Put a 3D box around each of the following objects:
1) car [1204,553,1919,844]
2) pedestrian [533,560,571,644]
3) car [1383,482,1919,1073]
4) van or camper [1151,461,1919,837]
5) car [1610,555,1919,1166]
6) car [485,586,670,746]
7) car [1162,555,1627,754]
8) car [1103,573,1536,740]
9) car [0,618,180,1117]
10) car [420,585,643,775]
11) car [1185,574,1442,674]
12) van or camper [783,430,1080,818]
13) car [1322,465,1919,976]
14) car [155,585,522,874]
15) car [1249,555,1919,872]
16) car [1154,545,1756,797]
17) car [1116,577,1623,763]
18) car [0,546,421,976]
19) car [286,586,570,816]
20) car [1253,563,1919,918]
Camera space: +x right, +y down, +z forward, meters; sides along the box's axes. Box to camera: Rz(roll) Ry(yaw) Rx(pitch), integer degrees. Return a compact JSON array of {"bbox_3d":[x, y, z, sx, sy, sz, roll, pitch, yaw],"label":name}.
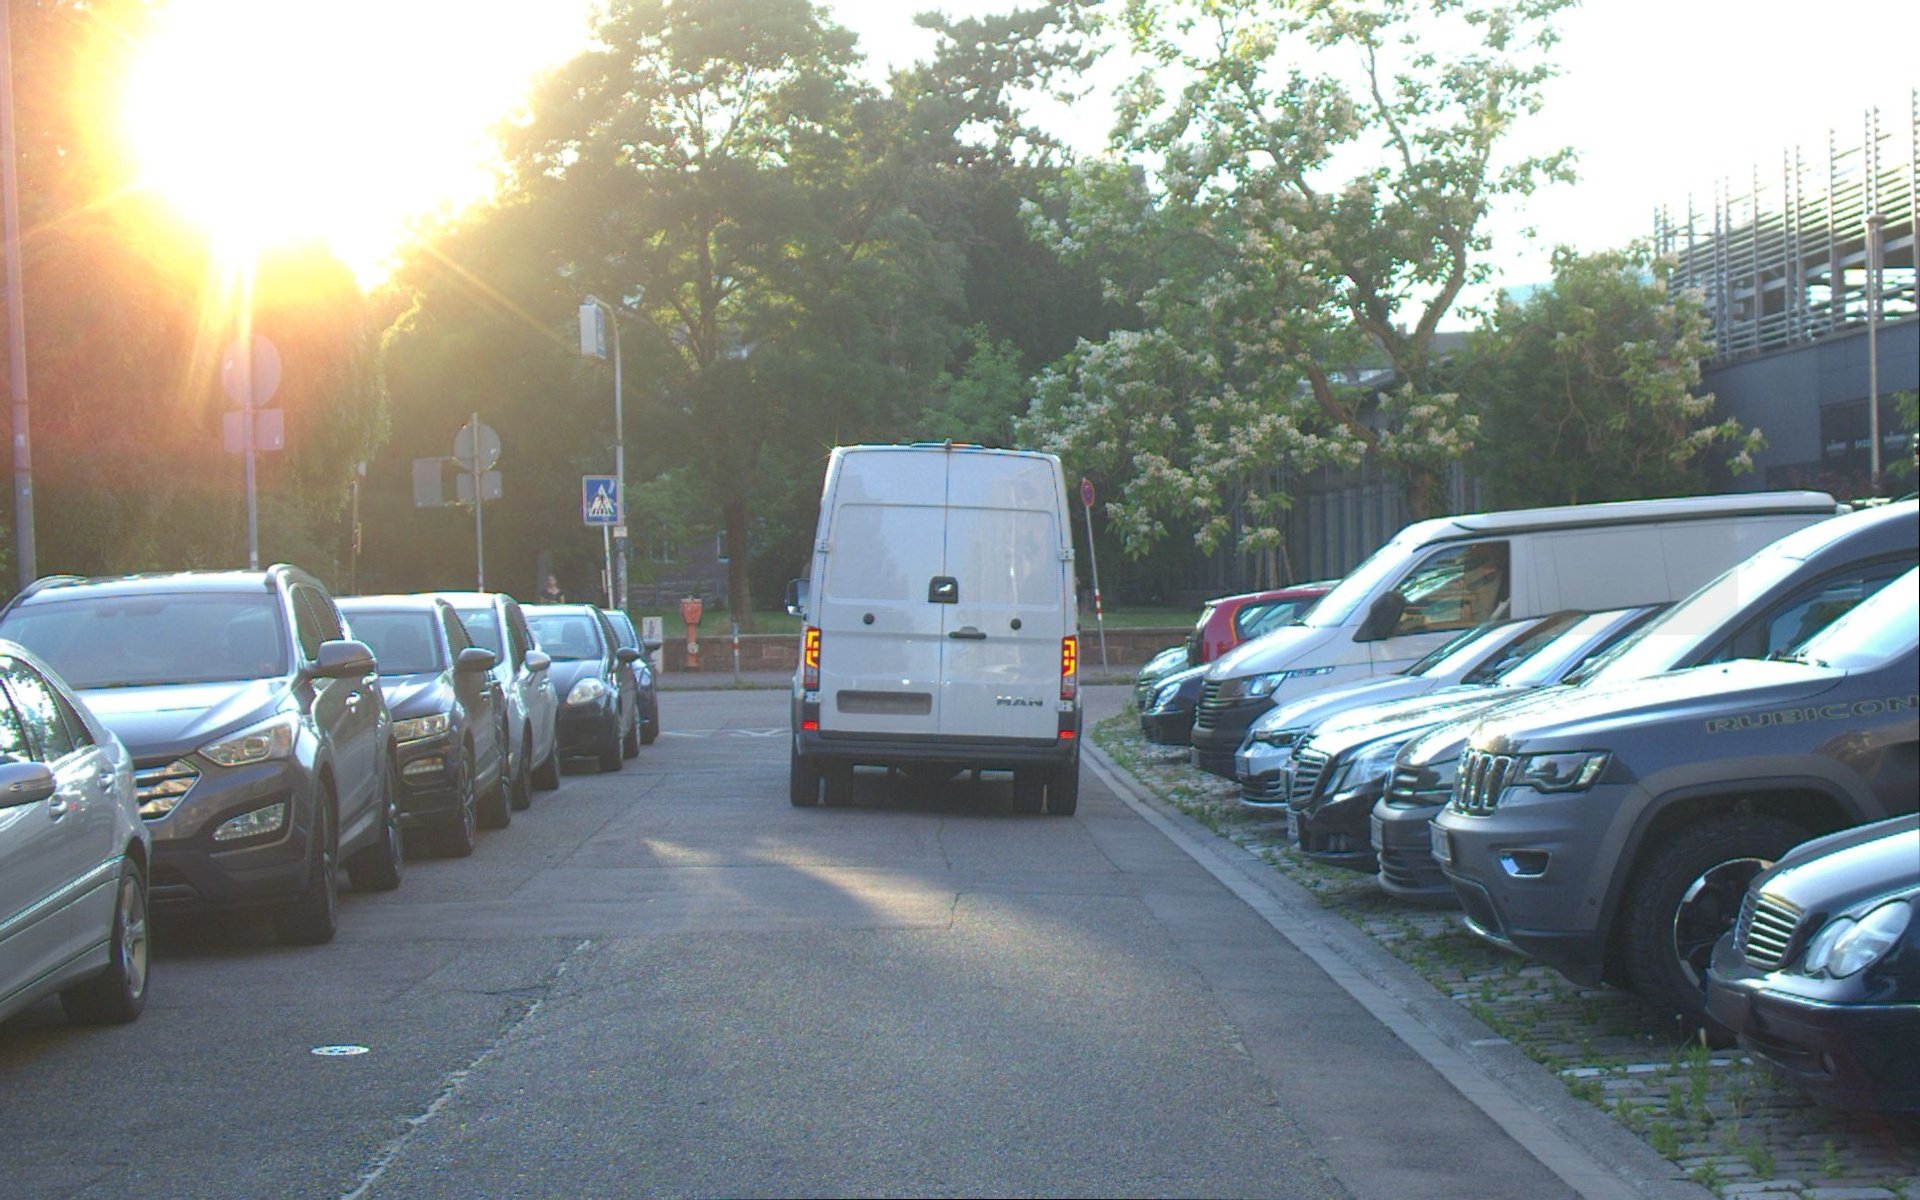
[{"bbox_3d":[3.867,0.624,21.930,4.403,1.626,1.845,-2,-2,-1],"label":"car"},{"bbox_3d":[-8.081,0.033,68.163,0.646,1.643,0.674,1,0,-1],"label":"pedestrian"},{"bbox_3d":[3.894,0.521,12.049,4.512,1.857,1.846,-2,0,-1],"label":"car"},{"bbox_3d":[4.068,0.330,24.129,5.132,2.160,2.040,-4,0,-2],"label":"van or camper"},{"bbox_3d":[4.228,0.625,9.701,4.403,1.549,1.845,-2,-2,1],"label":"car"},{"bbox_3d":[-4.039,0.665,36.763,1.733,1.562,3.791,-2,0,-4],"label":"car"},{"bbox_3d":[4.346,0.538,34.923,4.404,1.626,1.845,-5,0,2],"label":"car"},{"bbox_3d":[3.866,0.623,37.475,4.403,1.626,1.846,-2,-2,-3],"label":"car"},{"bbox_3d":[-3.744,0.817,10.992,1.733,1.422,4.287,-2,0,-4],"label":"car"},{"bbox_3d":[-3.829,0.677,31.213,1.733,1.562,3.698,-2,0,-4],"label":"car"},{"bbox_3d":[5.633,0.367,55.125,3.854,1.568,1.958,0,0,-2],"label":"car"},{"bbox_3d":[-0.240,0.158,26.357,1.993,2.609,6.403,0,0,-1],"label":"van or camper"},{"bbox_3d":[4.016,0.465,14.736,4.636,1.975,1.845,-2,-2,-1],"label":"car"},{"bbox_3d":[-3.755,0.718,21.405,1.733,1.562,4.168,-2,0,-4],"label":"car"},{"bbox_3d":[3.958,0.623,19.478,4.403,1.587,1.845,-2,-2,-1],"label":"car"},{"bbox_3d":[3.815,0.562,26.989,4.325,1.656,1.781,-3,-2,-3],"label":"car"},{"bbox_3d":[3.766,0.658,32.153,4.403,1.526,1.846,-2,-2,-3],"label":"car"},{"bbox_3d":[-3.660,0.661,16.318,1.733,1.724,4.323,-2,0,-4],"label":"car"},{"bbox_3d":[-3.985,0.701,26.309,1.733,1.562,4.130,-2,0,-4],"label":"car"},{"bbox_3d":[3.774,0.660,17.034,4.403,1.558,1.845,-2,-2,-1],"label":"car"}]
